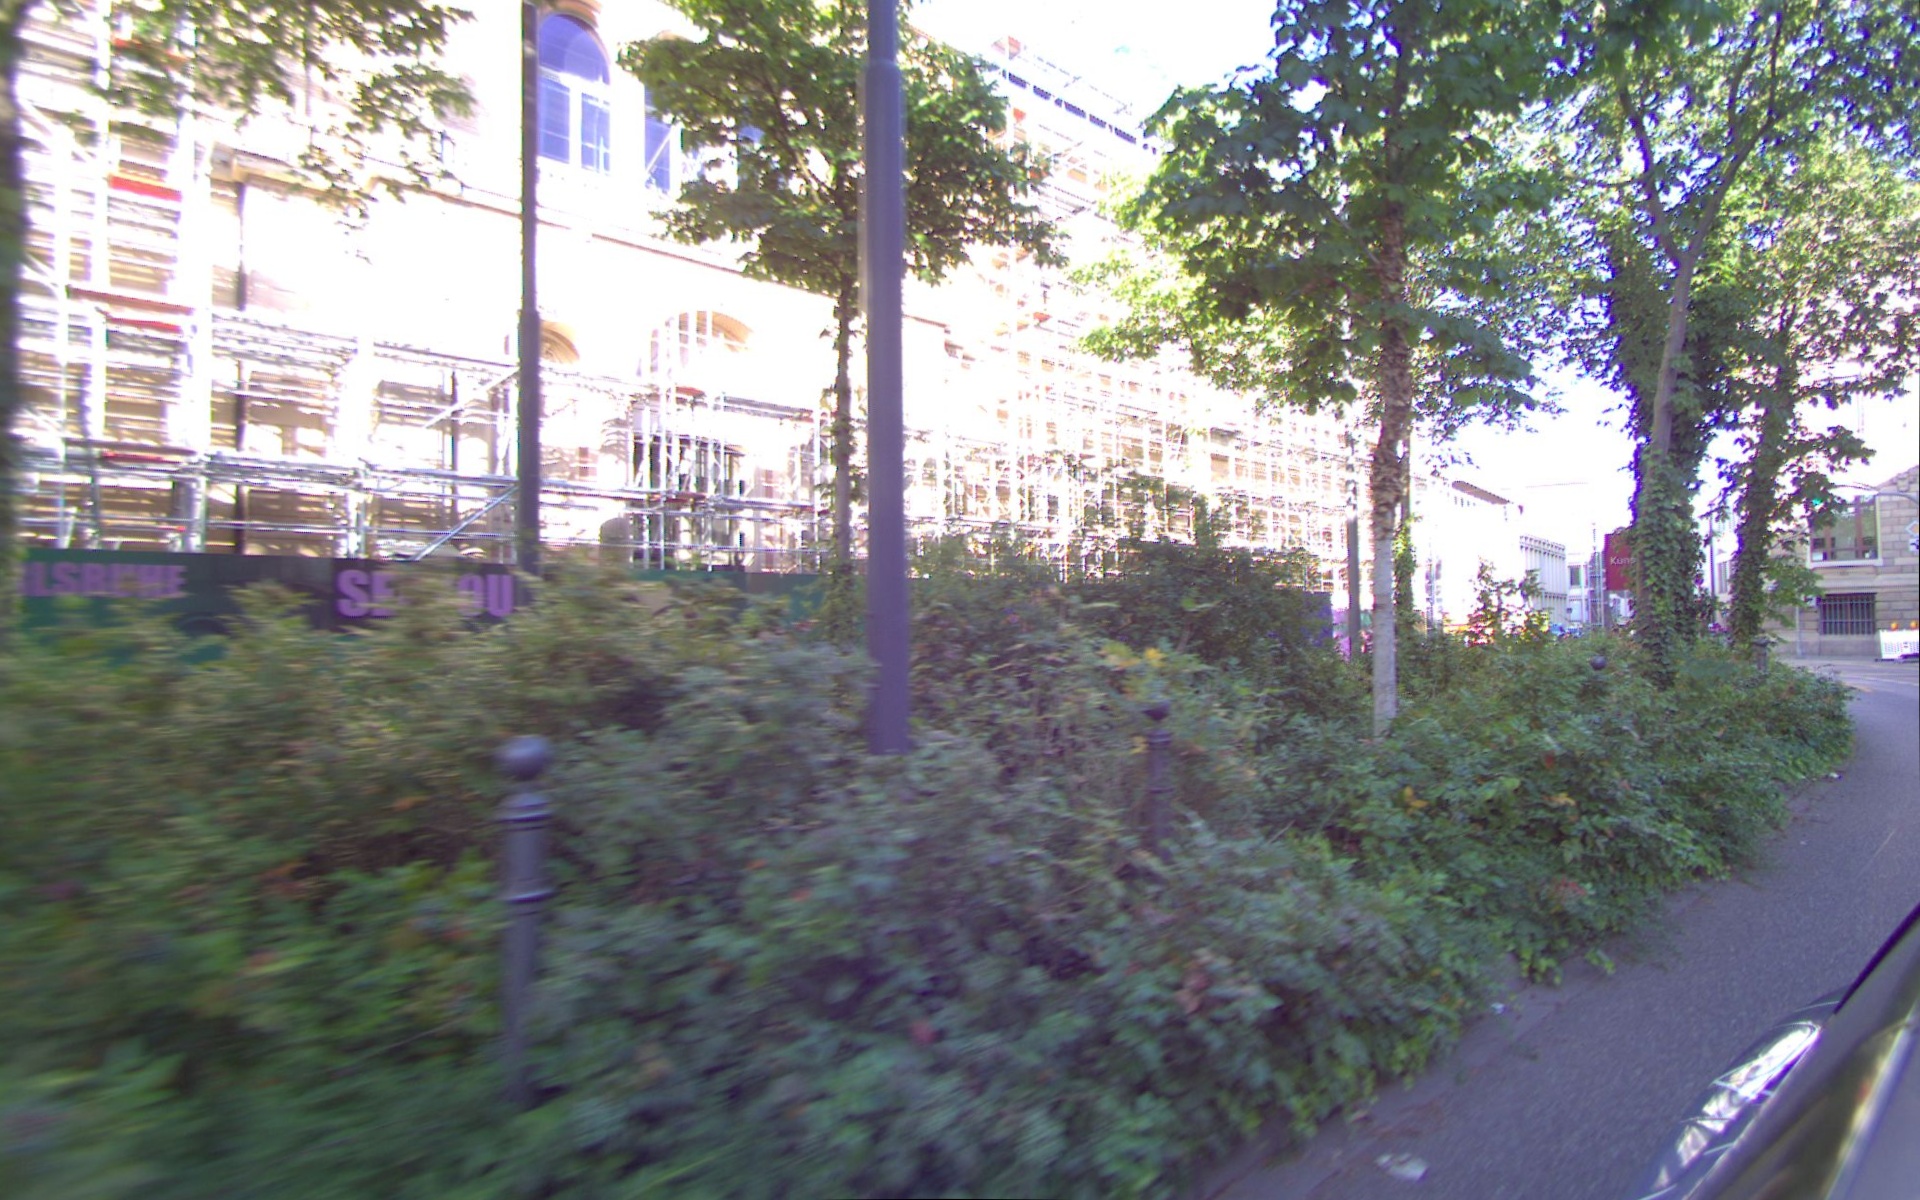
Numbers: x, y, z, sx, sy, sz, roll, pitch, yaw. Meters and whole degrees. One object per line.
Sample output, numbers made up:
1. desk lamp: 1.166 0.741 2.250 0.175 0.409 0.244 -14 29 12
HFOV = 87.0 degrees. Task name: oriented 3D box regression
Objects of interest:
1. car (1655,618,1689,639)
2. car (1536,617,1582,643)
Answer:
1. car: 55.176 2.210 78.431 1.845 1.511 4.195 -3 -3 38
2. car: 40.458 2.013 68.339 1.891 1.645 4.553 -4 -3 40
